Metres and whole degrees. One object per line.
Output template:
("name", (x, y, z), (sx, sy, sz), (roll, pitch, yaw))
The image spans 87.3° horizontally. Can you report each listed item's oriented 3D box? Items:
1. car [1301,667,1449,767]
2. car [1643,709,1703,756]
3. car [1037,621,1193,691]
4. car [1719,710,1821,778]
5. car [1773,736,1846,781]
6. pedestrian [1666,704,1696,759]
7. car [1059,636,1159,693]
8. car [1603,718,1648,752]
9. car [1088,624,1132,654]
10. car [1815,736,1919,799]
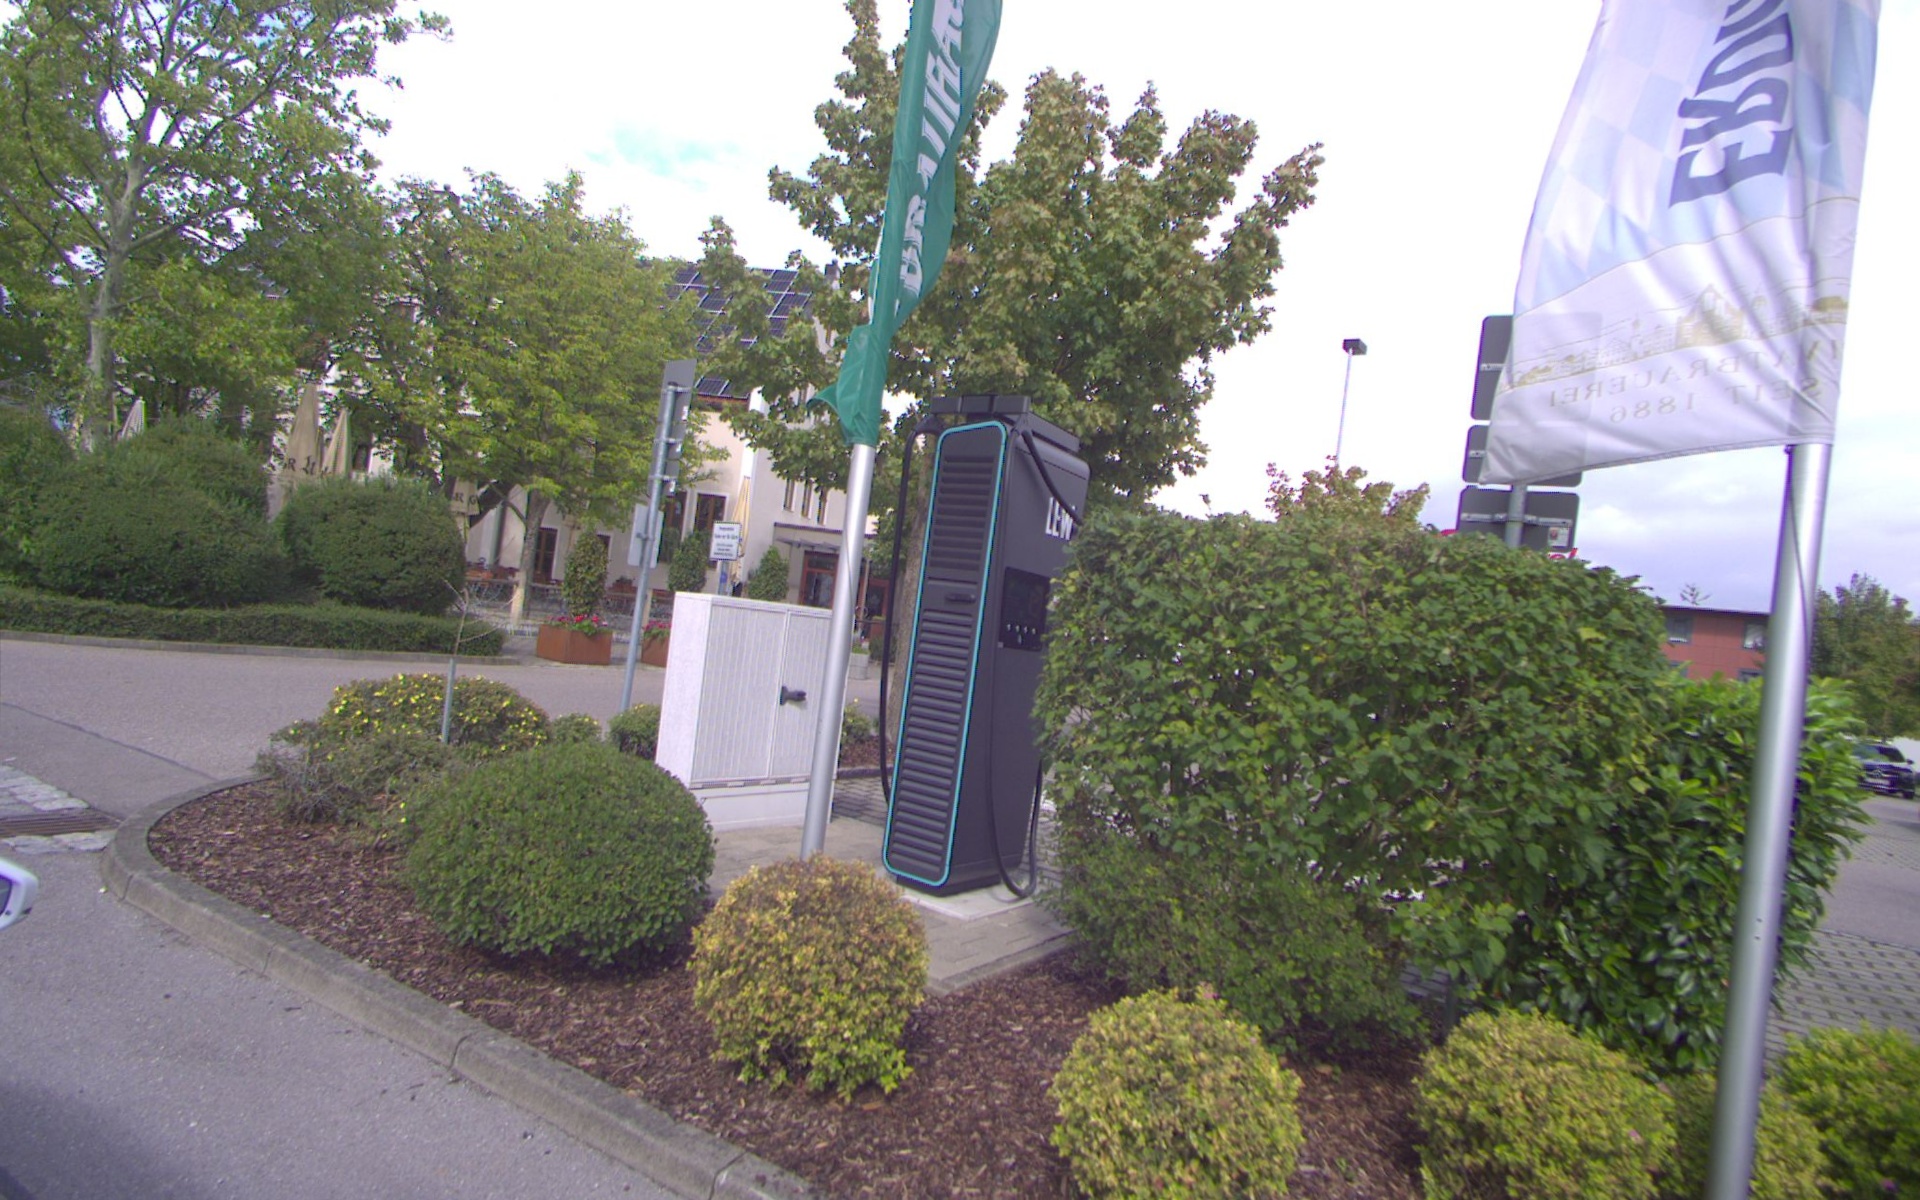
("car", (7.390, 2.057, 17.755), (1.604, 1.367, 3.365), (7, -2, 35))
("car", (32.317, 5.980, 45.695), (1.738, 1.740, 3.995), (7, -2, 31))
("car", (5.399, 1.946, 35.337), (4.998, 1.731, 1.746), (7, -1, 35))
("car", (24.755, 4.364, 30.870), (1.738, 1.675, 3.995), (7, -2, 31))
("car", (33.154, 6.156, 39.341), (1.503, 1.390, 3.474), (7, -2, 31))
("pedestrian", (24.404, 4.452, 34.047), (0.411, 1.745, 0.497), (8, 0, -23))
("car", (6.973, 3.039, 47.105), (3.931, 2.037, 1.998), (8, -1, 29))
("car", (37.579, 7.587, 56.848), (1.757, 1.562, 3.995), (7, -2, 31))
("car", (11.495, 3.022, 77.143), (1.688, 1.850, 3.603), (7, -2, 36))
("car", (26.228, 4.804, 29.157), (1.503, 1.390, 3.474), (7, -2, 31))
